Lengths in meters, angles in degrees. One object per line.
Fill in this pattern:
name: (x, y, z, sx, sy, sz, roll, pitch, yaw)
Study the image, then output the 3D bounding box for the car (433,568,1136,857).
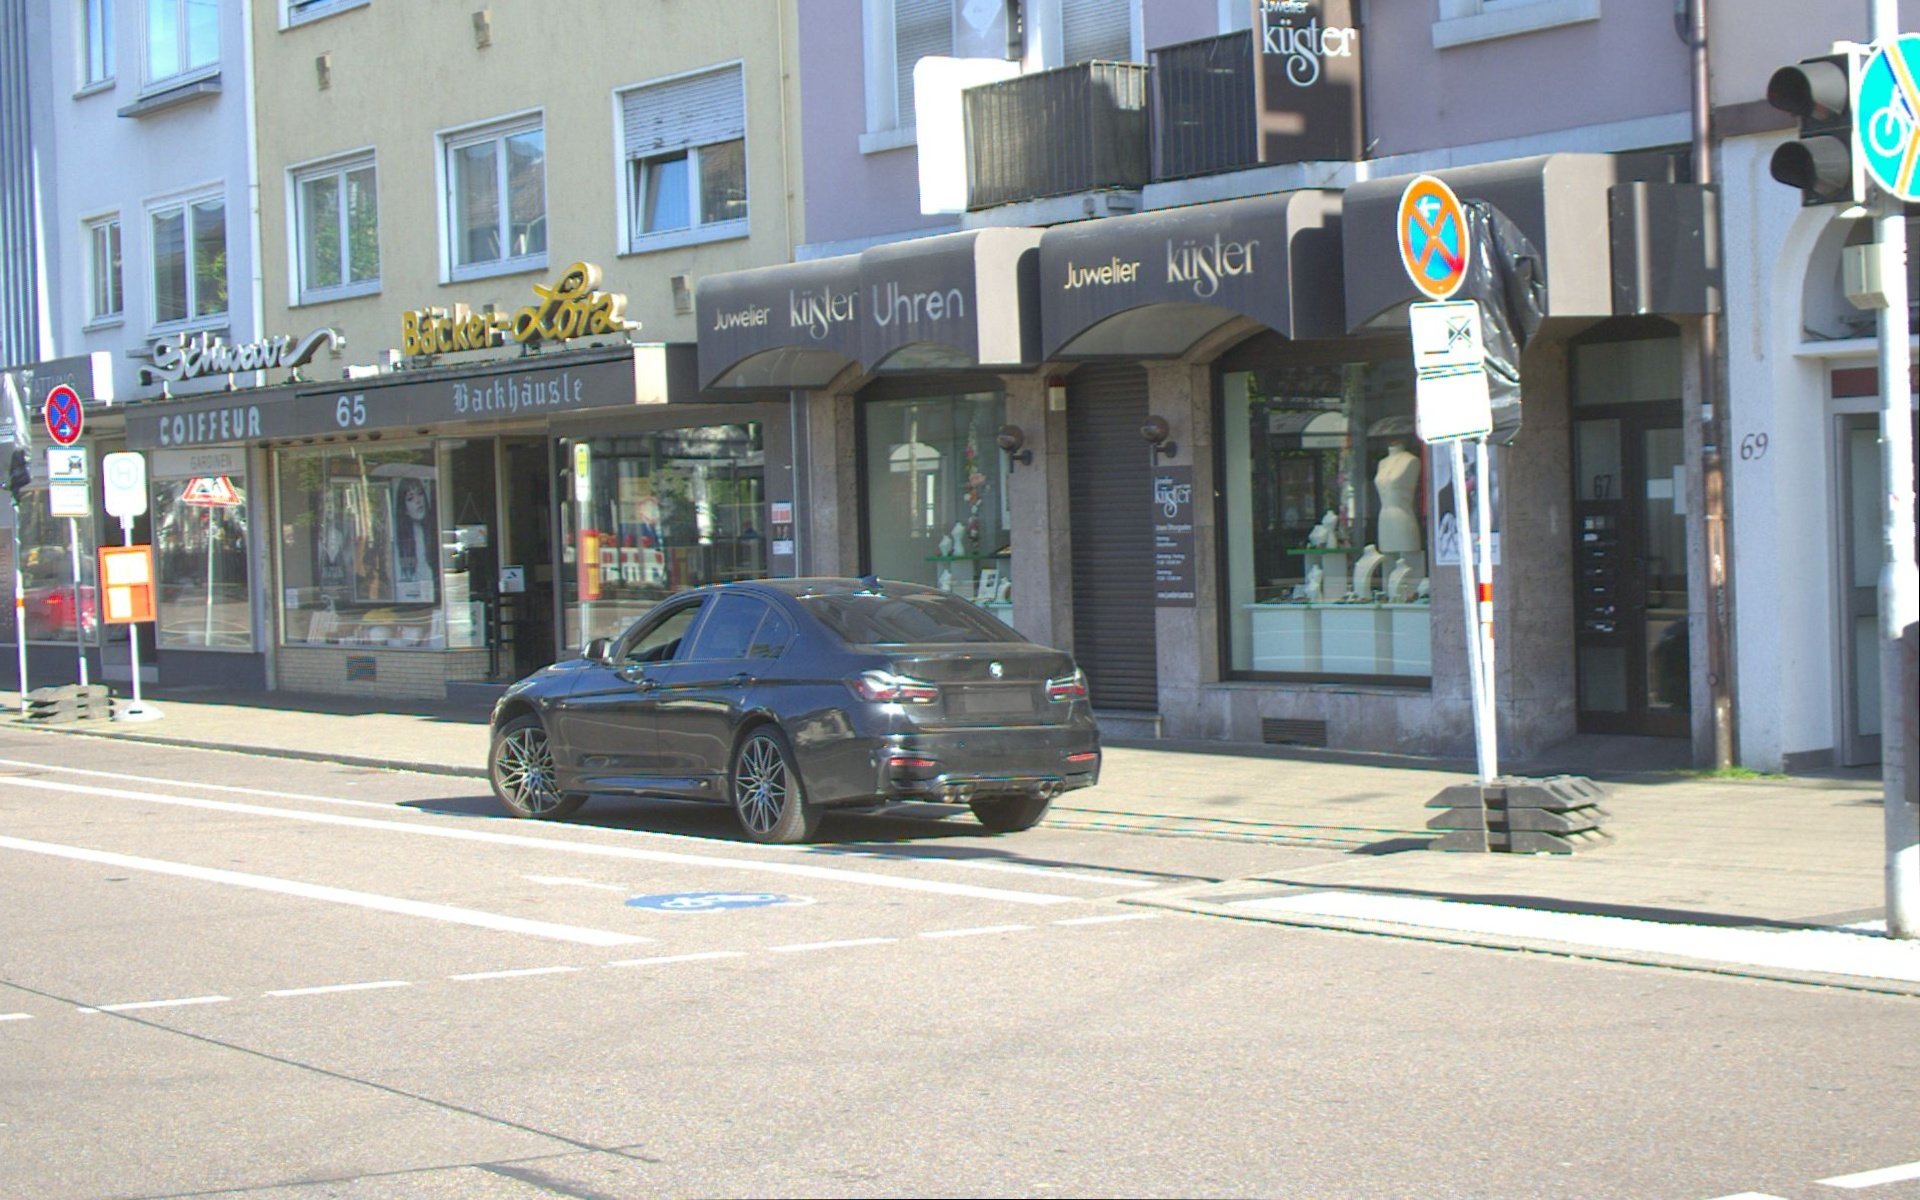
car: (-1.158, 0.569, 20.050, 1.739, 1.435, 4.654, -3, 2, -37)
